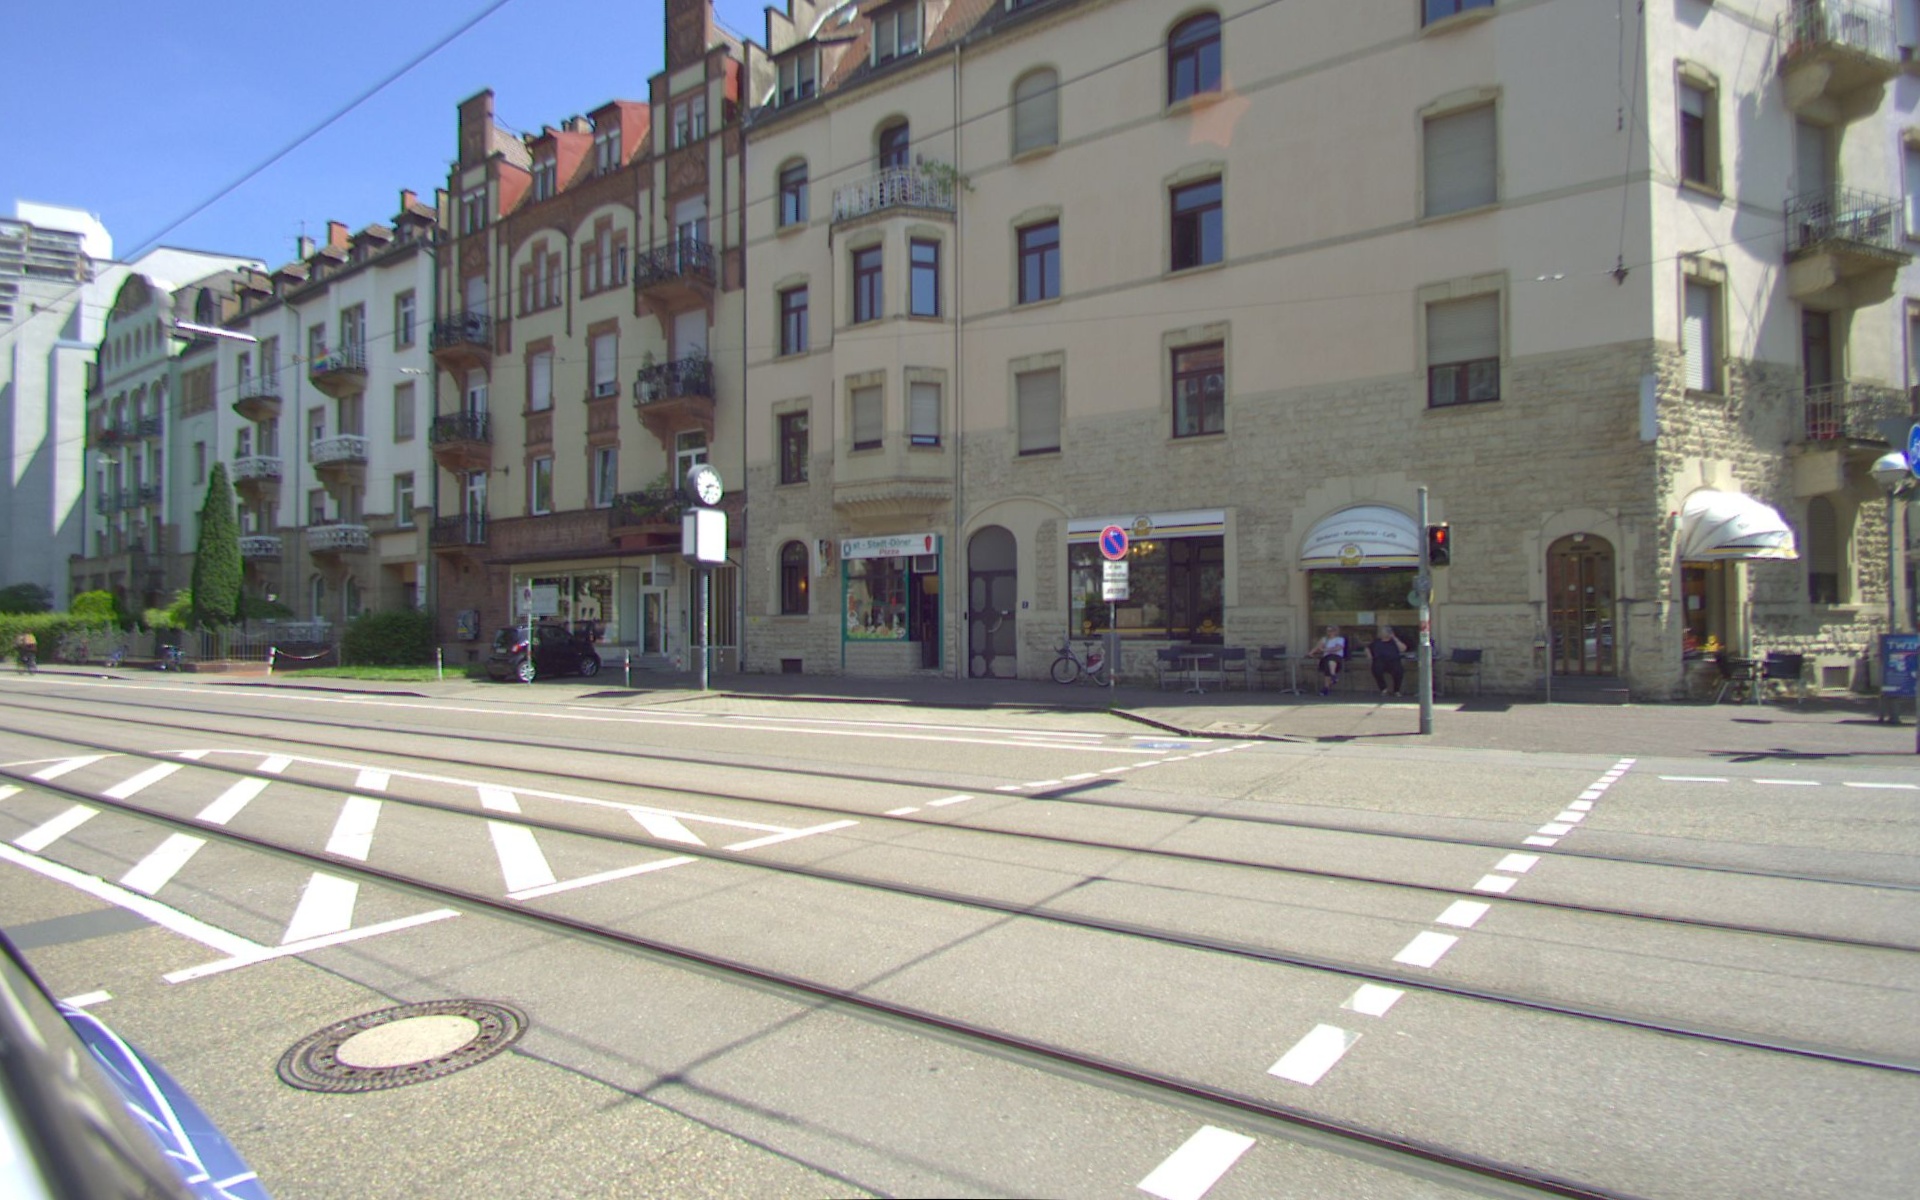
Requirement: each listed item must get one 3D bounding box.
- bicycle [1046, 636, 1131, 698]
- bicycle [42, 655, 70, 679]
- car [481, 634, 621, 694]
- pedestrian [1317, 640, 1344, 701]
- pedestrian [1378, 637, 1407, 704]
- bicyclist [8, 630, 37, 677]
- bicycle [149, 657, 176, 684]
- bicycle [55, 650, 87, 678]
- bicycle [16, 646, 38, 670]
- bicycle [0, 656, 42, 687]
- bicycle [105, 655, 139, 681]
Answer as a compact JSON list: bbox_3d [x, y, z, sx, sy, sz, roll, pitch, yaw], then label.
[{"bbox_3d":[2.687,1.378,21.353,0.448,1.234,2.084,0,-2,-37],"label":"bicycle"},{"bbox_3d":[-38.189,2.809,42.759,2.041,0.978,0.396,-2,-2,34],"label":"bicycle"},{"bbox_3d":[-11.385,1.734,28.315,1.527,1.483,3.322,-2,-1,37],"label":"car"},{"bbox_3d":[6.795,1.284,18.569,0.404,1.097,0.352,-1,-2,30],"label":"pedestrian"},{"bbox_3d":[7.612,1.232,17.800,0.404,1.157,0.402,-1,-2,30],"label":"pedestrian"},{"bbox_3d":[-33.579,1.902,36.239,0.578,1.676,0.605,-2,-3,33],"label":"bicyclist"},{"bbox_3d":[-28.421,2.515,36.063,1.610,0.924,0.250,-2,-2,34],"label":"bicycle"},{"bbox_3d":[-36.472,2.606,41.519,2.041,1.105,0.488,-2,-2,34],"label":"bicycle"},{"bbox_3d":[-42.515,2.647,46.098,1.894,1.054,0.287,-1,-2,34],"label":"bicycle"},{"bbox_3d":[-33.700,2.554,36.295,2.180,1.083,0.639,-2,-3,34],"label":"bicycle"},{"bbox_3d":[-31.817,2.572,38.419,1.949,0.955,0.458,-2,-2,34],"label":"bicycle"}]
